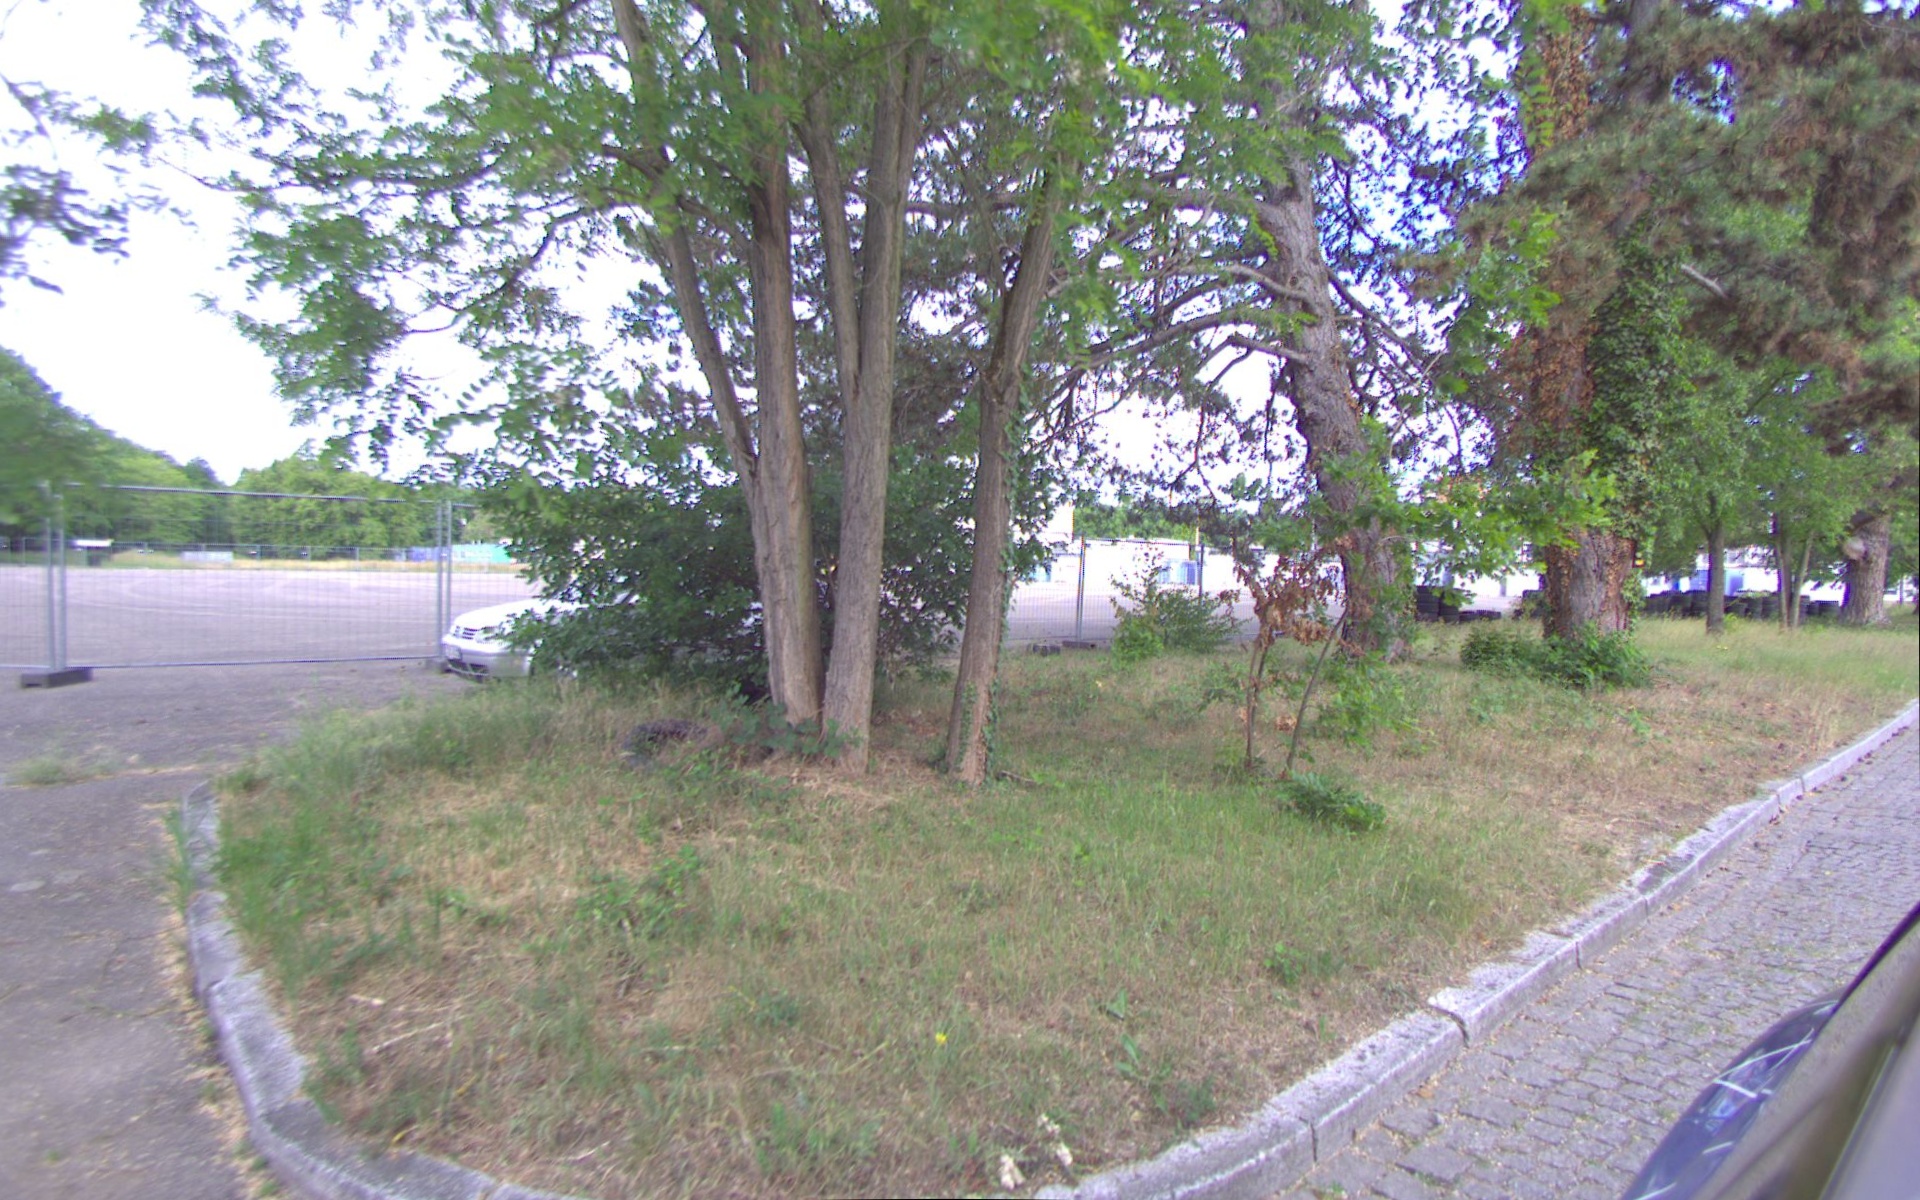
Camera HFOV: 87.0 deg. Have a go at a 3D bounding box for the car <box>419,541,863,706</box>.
[{"bbox_3d":[-3.320,0.149,11.169,4.415,1.468,1.675,-1,2,-44],"label":"car"}]
